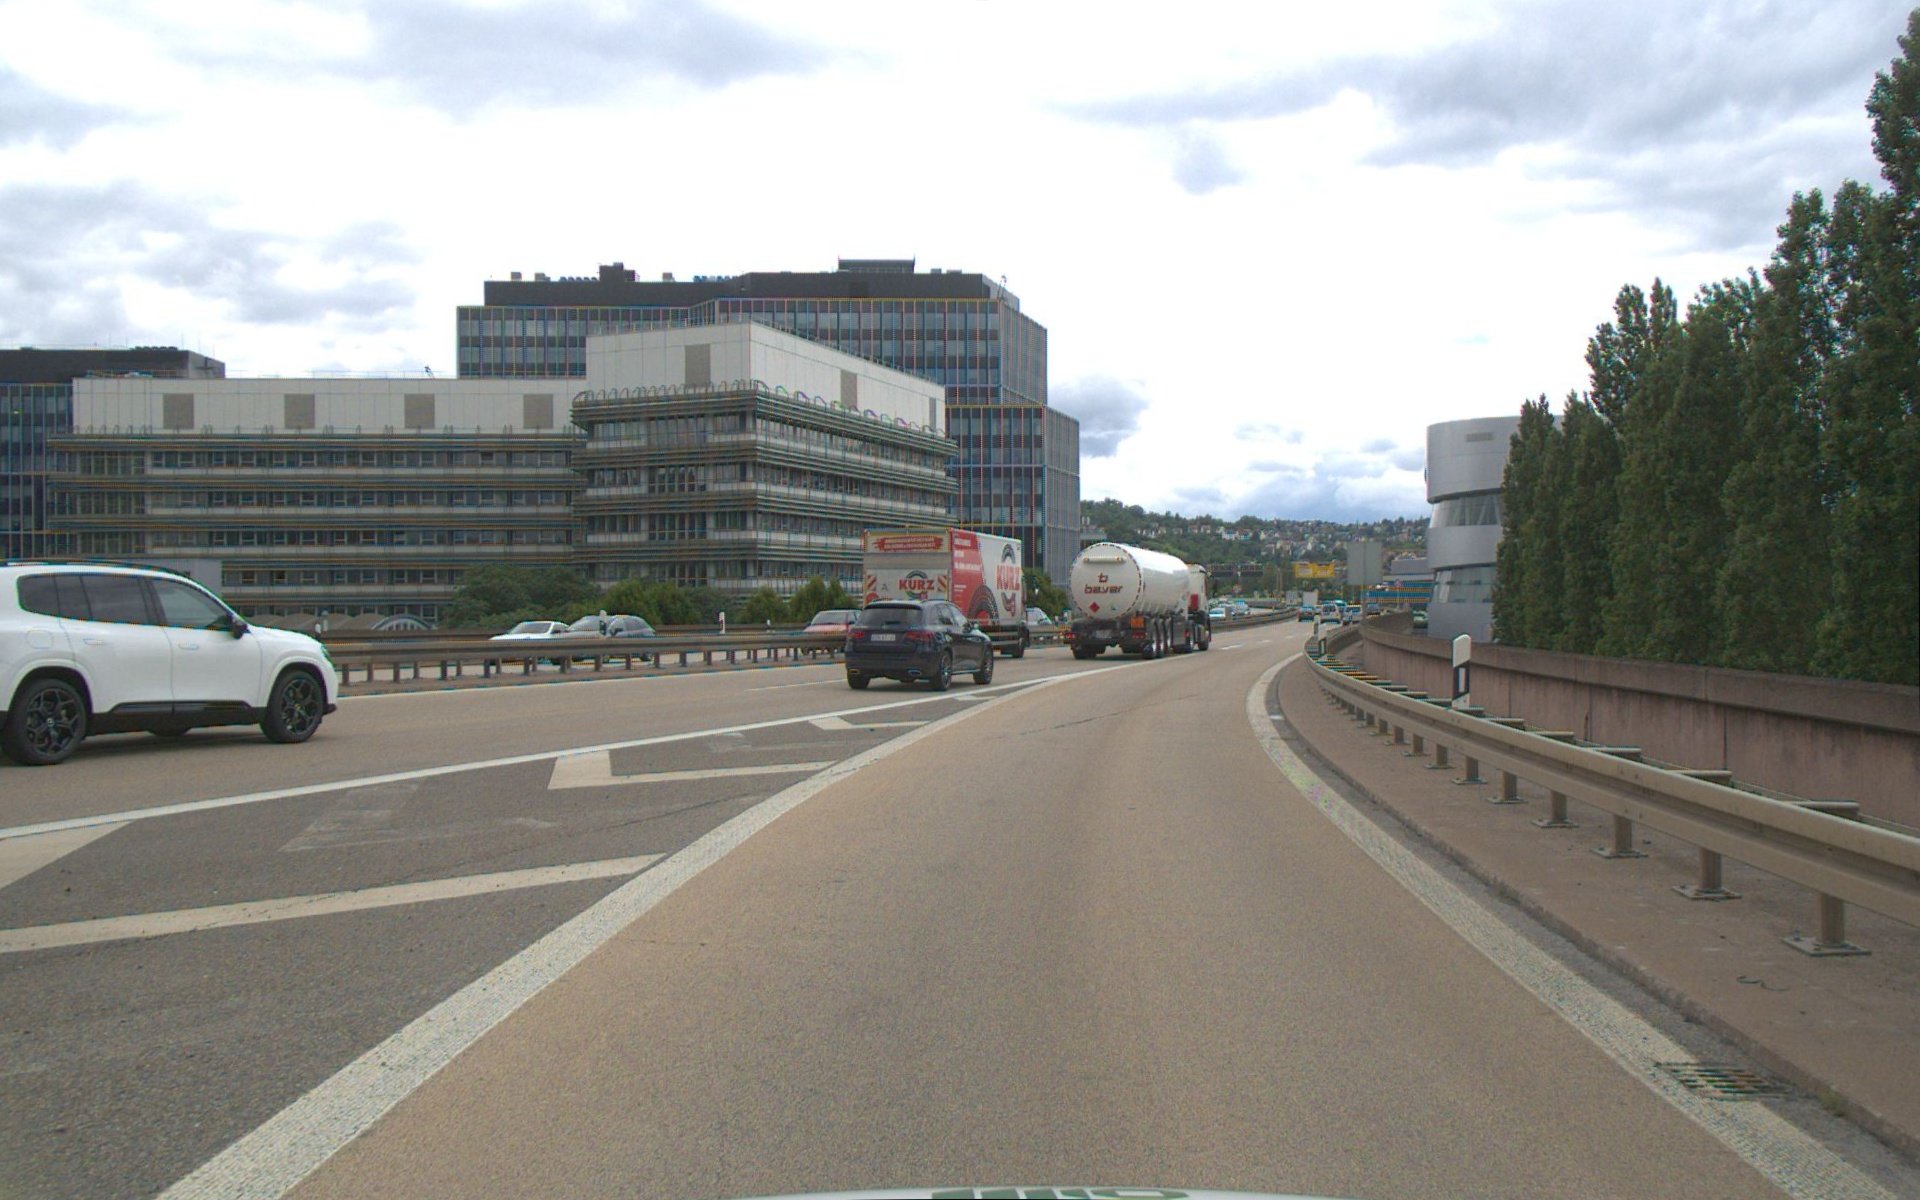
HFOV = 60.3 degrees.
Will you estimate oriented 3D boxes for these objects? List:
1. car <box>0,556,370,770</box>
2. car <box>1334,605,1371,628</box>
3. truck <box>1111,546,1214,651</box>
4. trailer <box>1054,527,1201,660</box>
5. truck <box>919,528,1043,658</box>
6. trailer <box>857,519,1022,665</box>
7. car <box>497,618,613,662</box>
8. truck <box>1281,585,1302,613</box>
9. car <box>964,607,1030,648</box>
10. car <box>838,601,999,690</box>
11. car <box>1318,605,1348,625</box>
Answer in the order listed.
[{"bbox_3d":[-7.882,0.520,15.297,1.952,1.698,4.893,0,-1,19],"label":"car"},{"bbox_3d":[30.748,1.319,129.533,1.955,1.564,3.998,6,1,24],"label":"car"},{"bbox_3d":[7.386,-0.049,59.686,2.710,3.490,5.969,-2,0,16],"label":"truck"},{"bbox_3d":[5.666,-0.185,53.691,2.733,3.803,11.162,-2,0,16],"label":"trailer"},{"bbox_3d":[0.714,-0.193,50.904,2.634,3.755,4.442,-2,-1,16],"label":"truck"},{"bbox_3d":[-0.412,-0.202,46.903,2.633,3.755,7.318,-2,0,16],"label":"trailer"},{"bbox_3d":[-13.009,1.268,53.394,1.608,1.257,4.283,-2,0,18],"label":"car"},{"bbox_3d":[47.224,-0.165,235.653,2.344,3.961,5.947,-2,0,16],"label":"truck"},{"bbox_3d":[1.521,1.111,67.410,1.659,1.578,3.643,-2,-2,18],"label":"car"},{"bbox_3d":[-0.695,0.817,31.184,1.807,1.531,4.268,1,0,16],"label":"car"},{"bbox_3d":[34.891,1.412,154.588,1.954,1.564,3.999,5,0,22],"label":"car"}]
